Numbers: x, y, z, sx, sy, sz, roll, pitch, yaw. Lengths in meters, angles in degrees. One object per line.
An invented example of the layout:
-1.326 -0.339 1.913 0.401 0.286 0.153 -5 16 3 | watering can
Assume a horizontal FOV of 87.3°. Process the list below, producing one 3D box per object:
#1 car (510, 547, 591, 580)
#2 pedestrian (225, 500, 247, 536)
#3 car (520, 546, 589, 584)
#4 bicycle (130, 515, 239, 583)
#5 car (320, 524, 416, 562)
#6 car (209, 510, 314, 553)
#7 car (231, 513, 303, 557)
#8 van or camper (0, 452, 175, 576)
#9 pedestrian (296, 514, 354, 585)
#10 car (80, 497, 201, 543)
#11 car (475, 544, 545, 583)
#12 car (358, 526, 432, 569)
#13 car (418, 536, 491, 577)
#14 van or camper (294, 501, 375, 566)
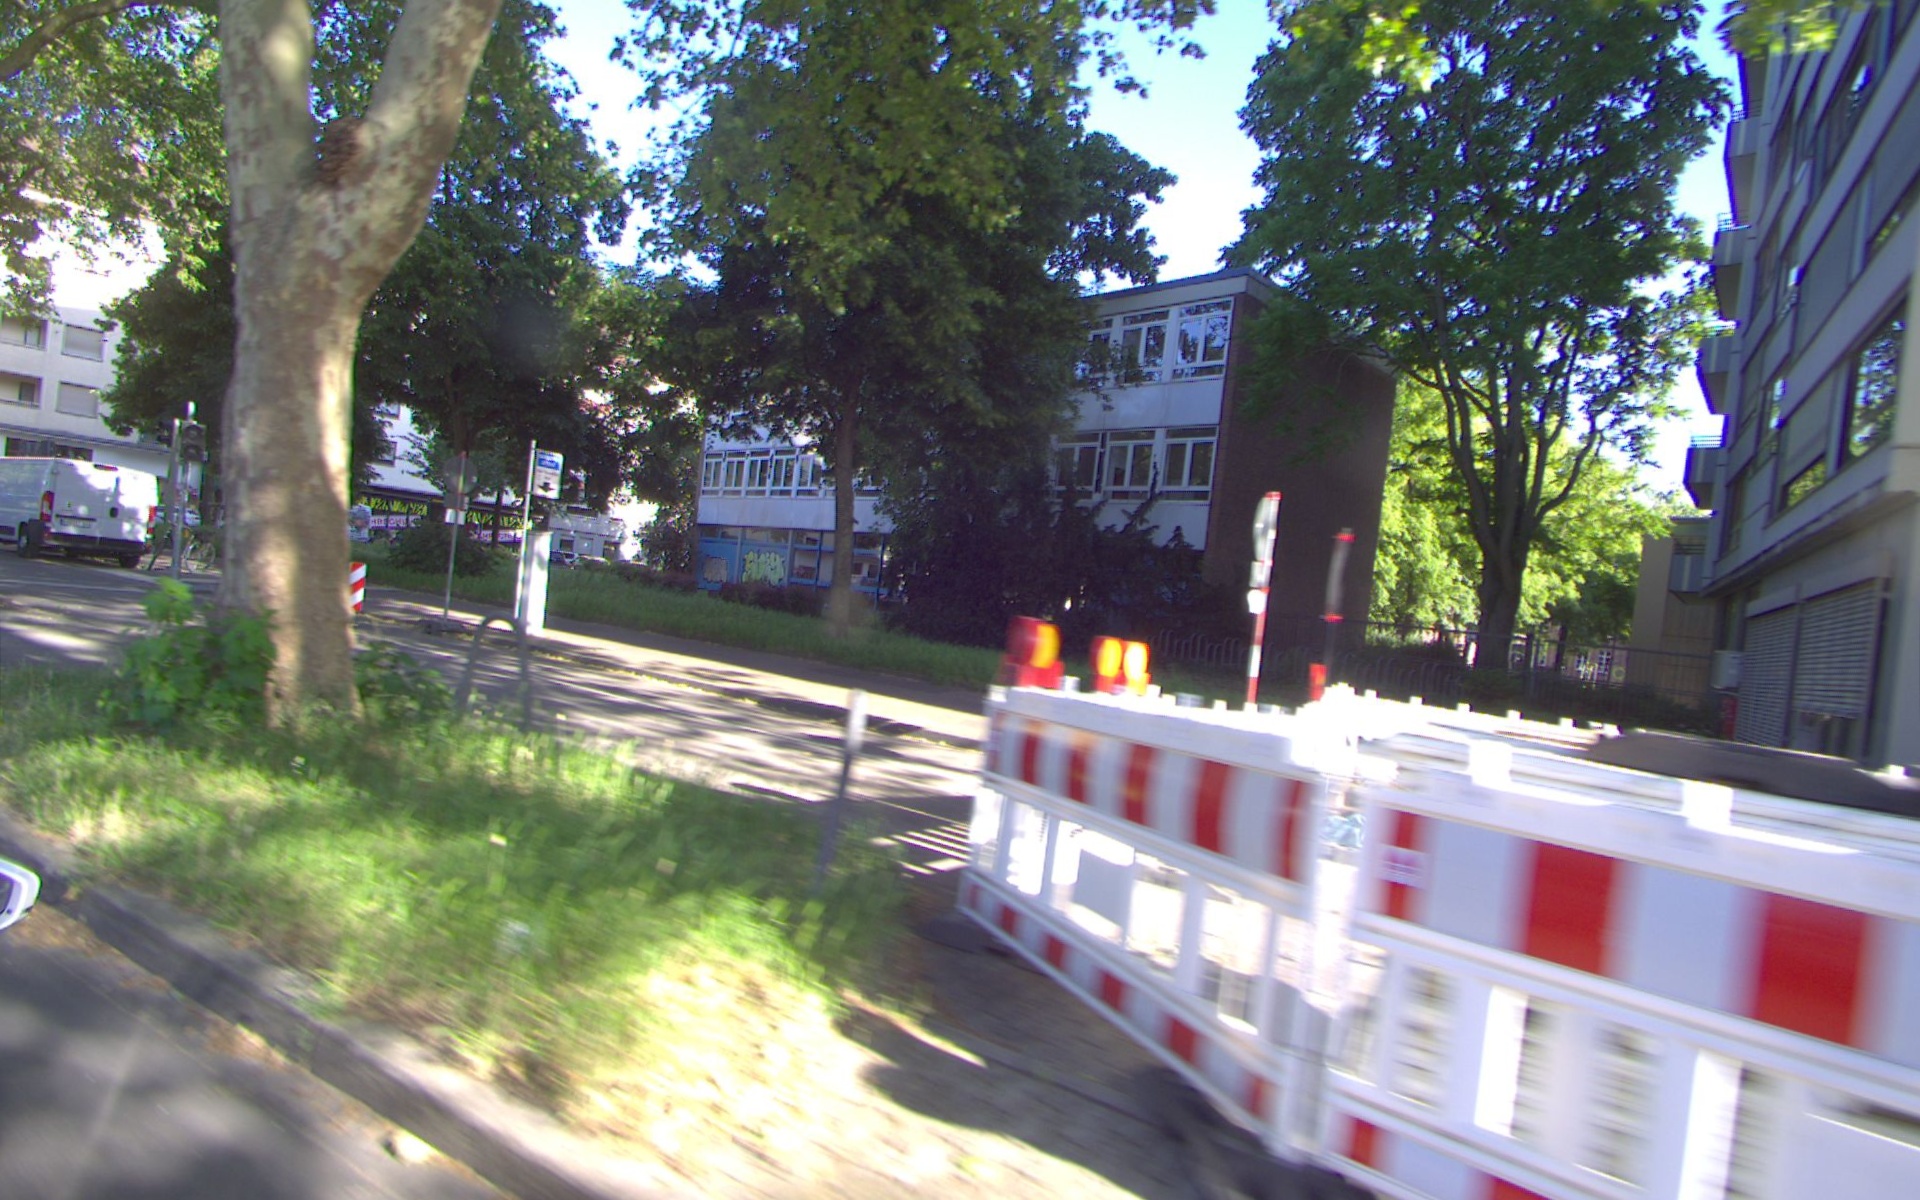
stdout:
-26.676 -2.371 65.554 4.367 1.555 1.976 7 0 -43 | car
-39.851 -4.517 55.370 0.719 1.832 0.680 6 1 -44 | pedestrian
-22.417 -1.951 55.527 1.987 1.648 4.335 6 0 -43 | car
-17.345 -1.132 22.534 0.946 1.279 1.607 7 0 27 | bicycle
-34.142 -3.290 58.109 4.367 1.555 1.976 7 0 -43 | car
-37.882 -3.681 54.613 4.367 1.664 1.976 7 0 -43 | car
-31.783 -2.990 46.090 1.987 1.648 4.335 6 0 -43 | car
-21.016 -2.064 23.426 5.726 2.314 2.294 7 0 31 | van or camper
-16.032 -1.274 25.401 1.018 1.637 0.733 7 1 32 | pedestrian
-41.649 -4.055 51.203 4.572 1.600 1.975 7 0 -44 | car
-24.131 -1.967 53.878 1.987 1.648 4.335 6 0 -43 | car
-27.897 -2.626 49.624 1.987 1.690 4.686 6 0 -43 | car
-26.119 -2.259 51.927 1.987 1.690 4.686 6 0 -43 | car
-29.858 -3.196 47.935 2.139 2.669 5.520 6 0 -43 | van or camper
